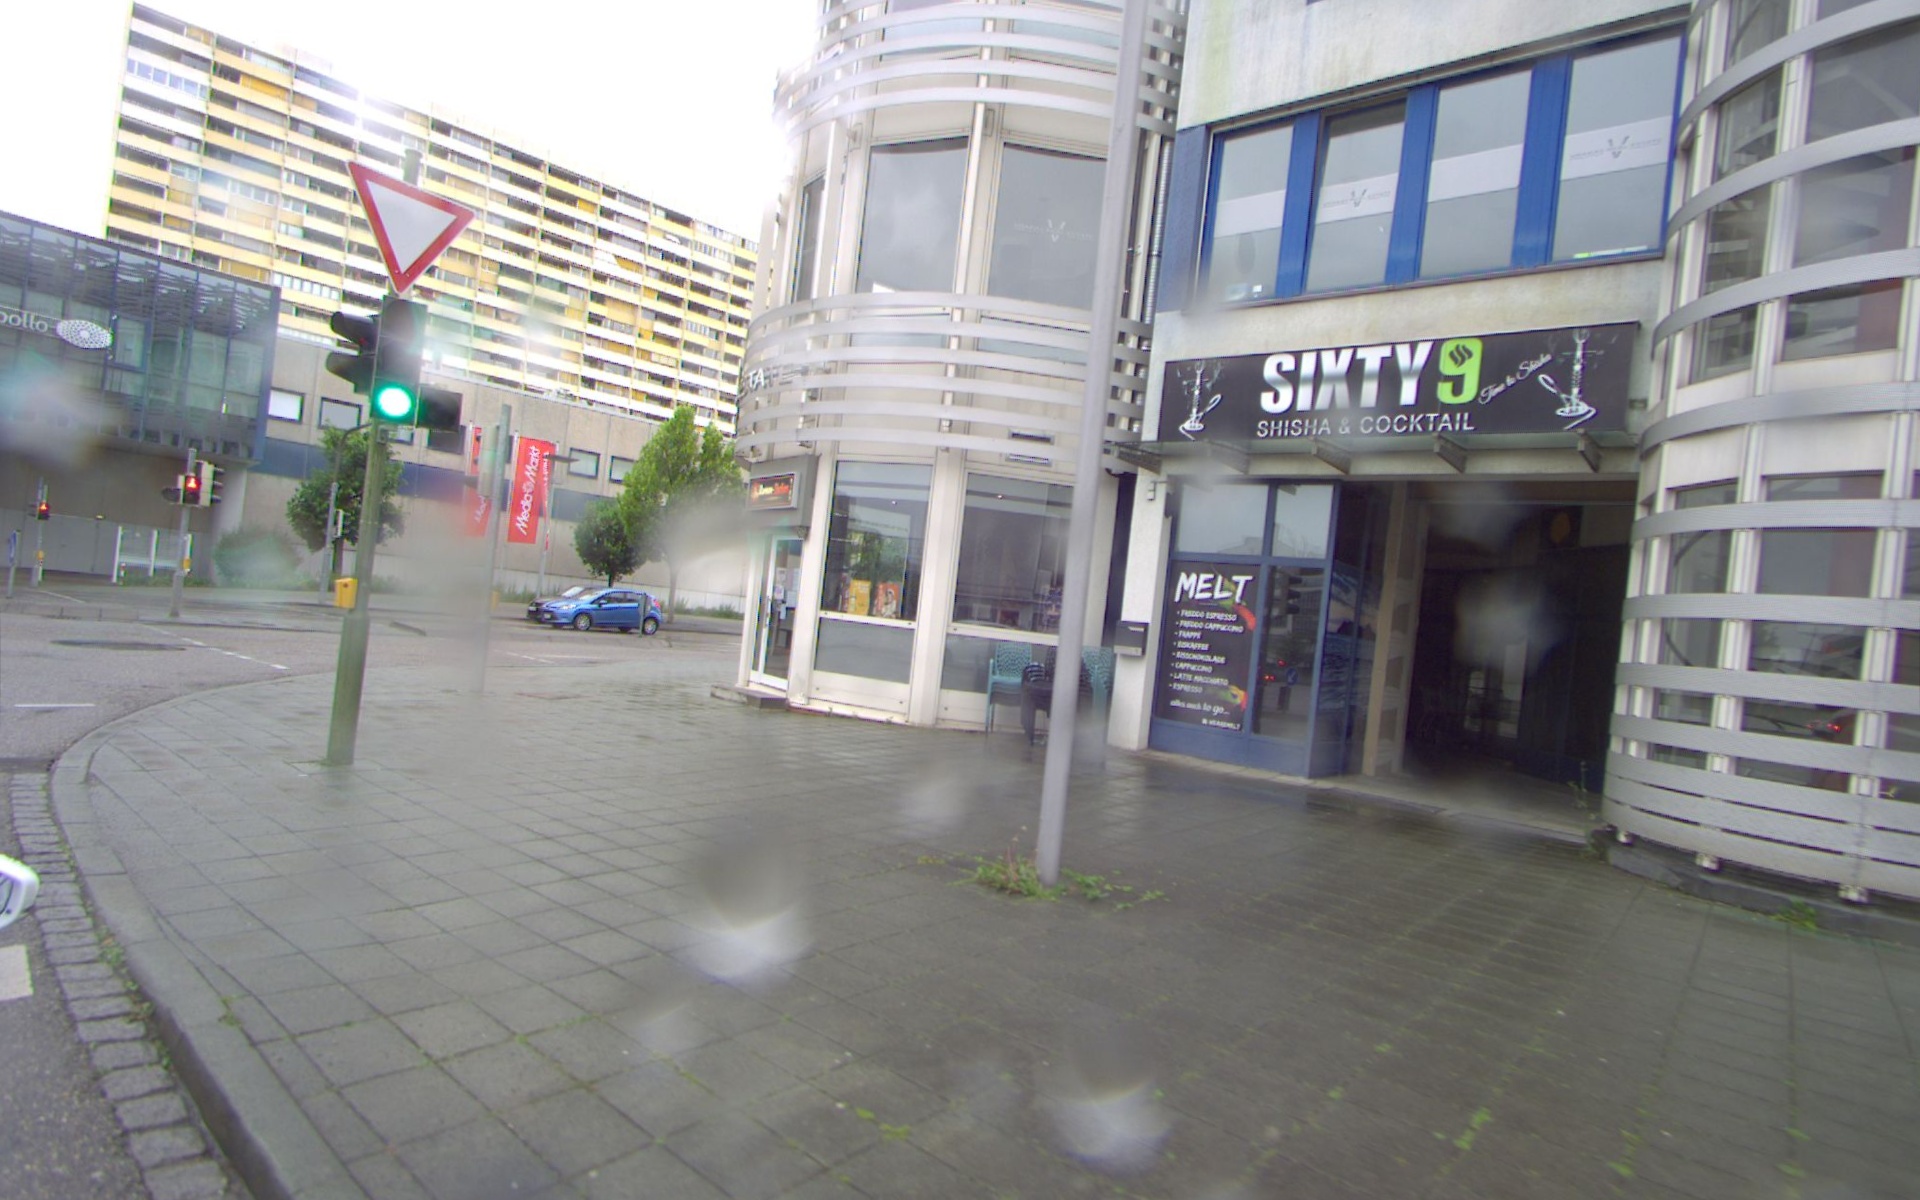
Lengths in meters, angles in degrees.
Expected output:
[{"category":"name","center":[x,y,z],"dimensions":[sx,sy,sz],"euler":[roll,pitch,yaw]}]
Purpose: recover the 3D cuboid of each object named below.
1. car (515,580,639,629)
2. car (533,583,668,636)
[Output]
[{"category":"car","center":[-13.560,0.166,35.729],"dimensions":[1.720,1.412,3.678],"euler":[5,-1,41]},{"category":"car","center":[-11.794,0.341,33.160],"dimensions":[1.655,1.414,3.837],"euler":[5,-1,40]}]
